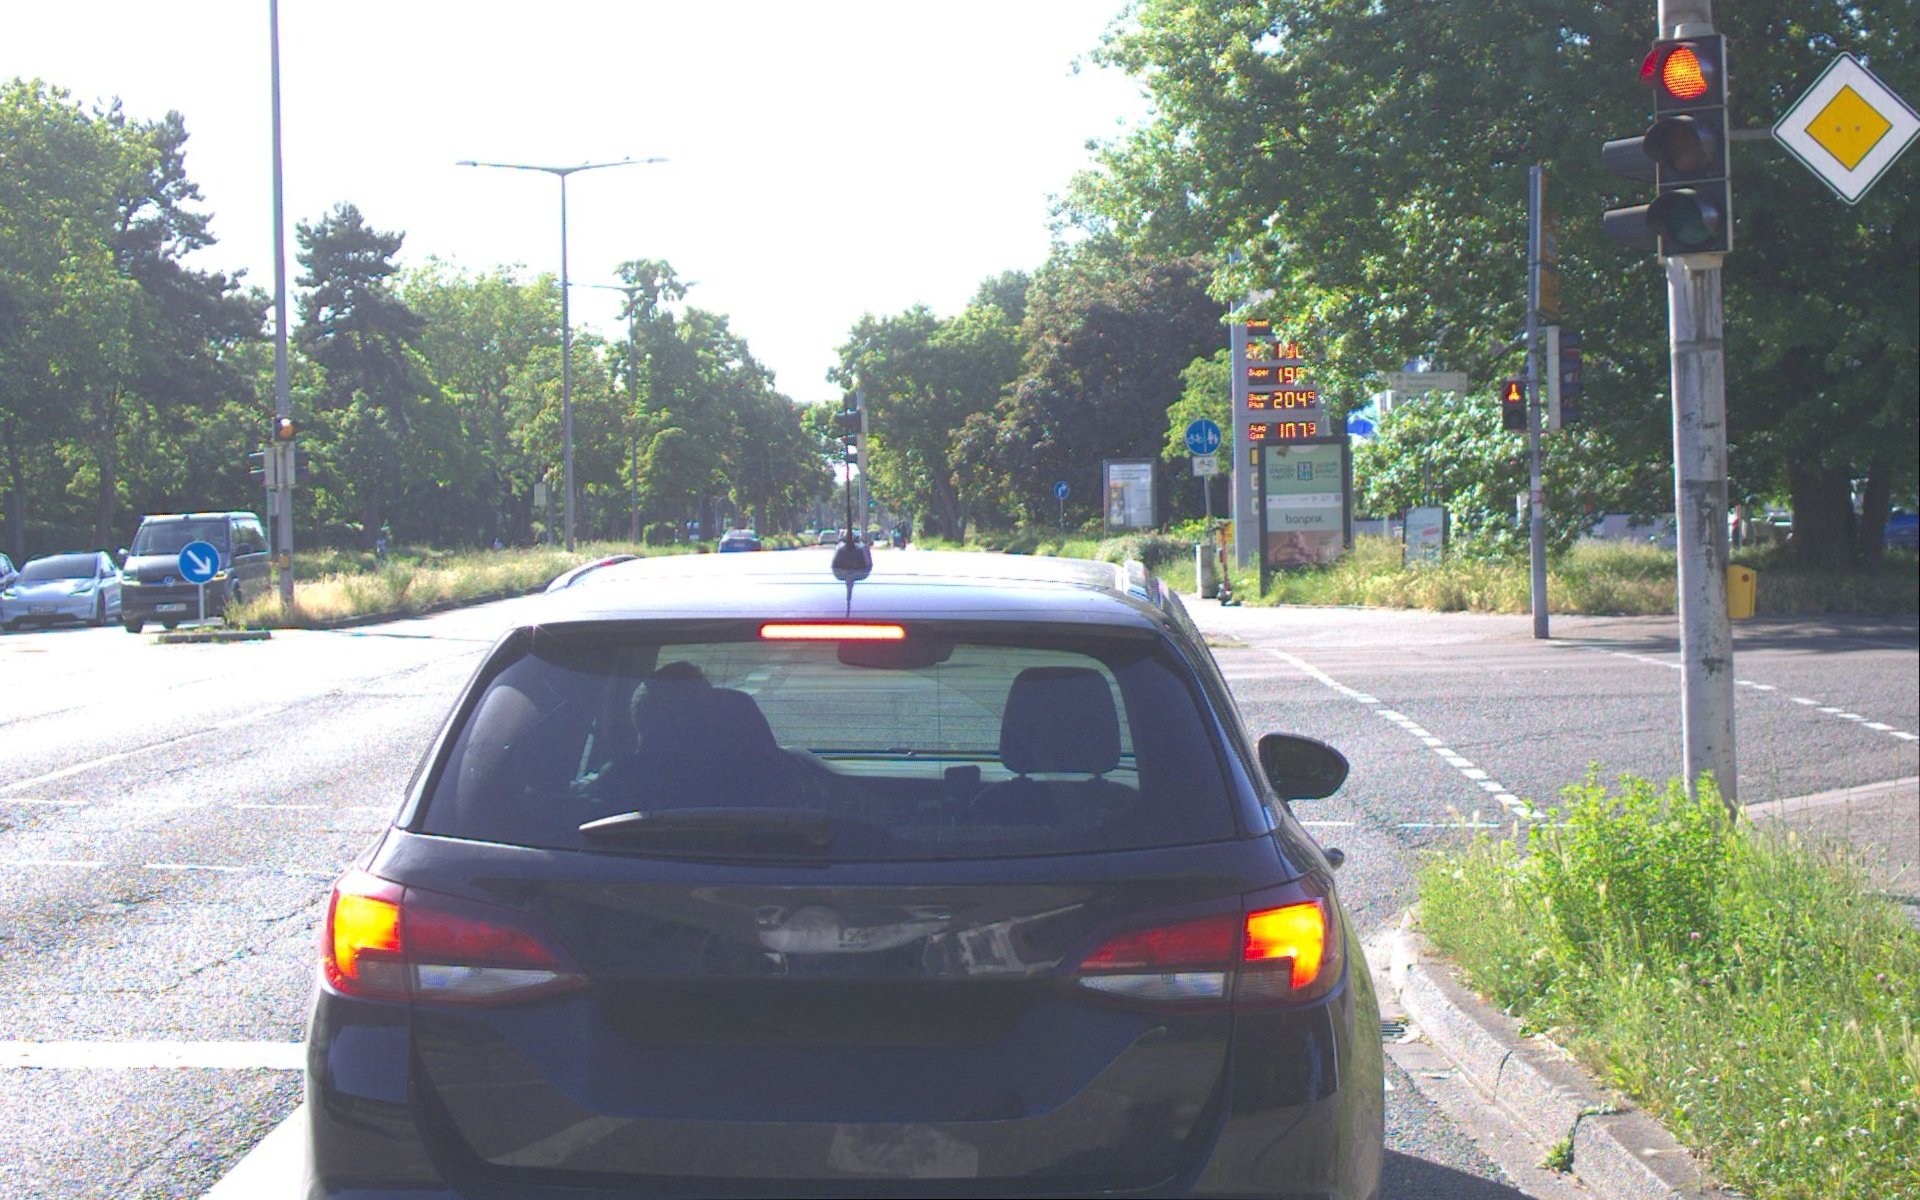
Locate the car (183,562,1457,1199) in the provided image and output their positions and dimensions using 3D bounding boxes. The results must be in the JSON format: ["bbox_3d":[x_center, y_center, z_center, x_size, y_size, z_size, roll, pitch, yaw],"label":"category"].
[{"bbox_3d":[-0.218,0.684,6.654,1.755,1.504,3.809,0,1,-1],"label":"car"}]

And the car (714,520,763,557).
[{"bbox_3d":[-9.654,-2.661,150.150,1.888,1.546,4.000,-1,1,-1],"label":"car"}]

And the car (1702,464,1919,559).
[{"bbox_3d":[16.086,-1.657,64.858,3.711,1.679,1.704,1,1,-3],"label":"car"}]

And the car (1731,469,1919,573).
[{"bbox_3d":[15.278,-1.334,59.022,3.711,1.679,1.704,1,1,-27],"label":"car"}]

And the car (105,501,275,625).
[{"bbox_3d":[-13.025,-0.629,58.376,1.993,2.007,4.000,1,1,-1],"label":"car"}]

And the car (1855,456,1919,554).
[{"bbox_3d":[16.821,-1.521,56.718,3.836,1.558,1.805,1,1,-32],"label":"car"}]

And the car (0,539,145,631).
[{"bbox_3d":[-16.997,-0.299,65.733,1.864,1.678,4.000,1,1,-1],"label":"car"}]

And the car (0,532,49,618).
[{"bbox_3d":[-20.607,-0.537,72.010,1.993,1.744,4.000,0,1,-1],"label":"car"}]
